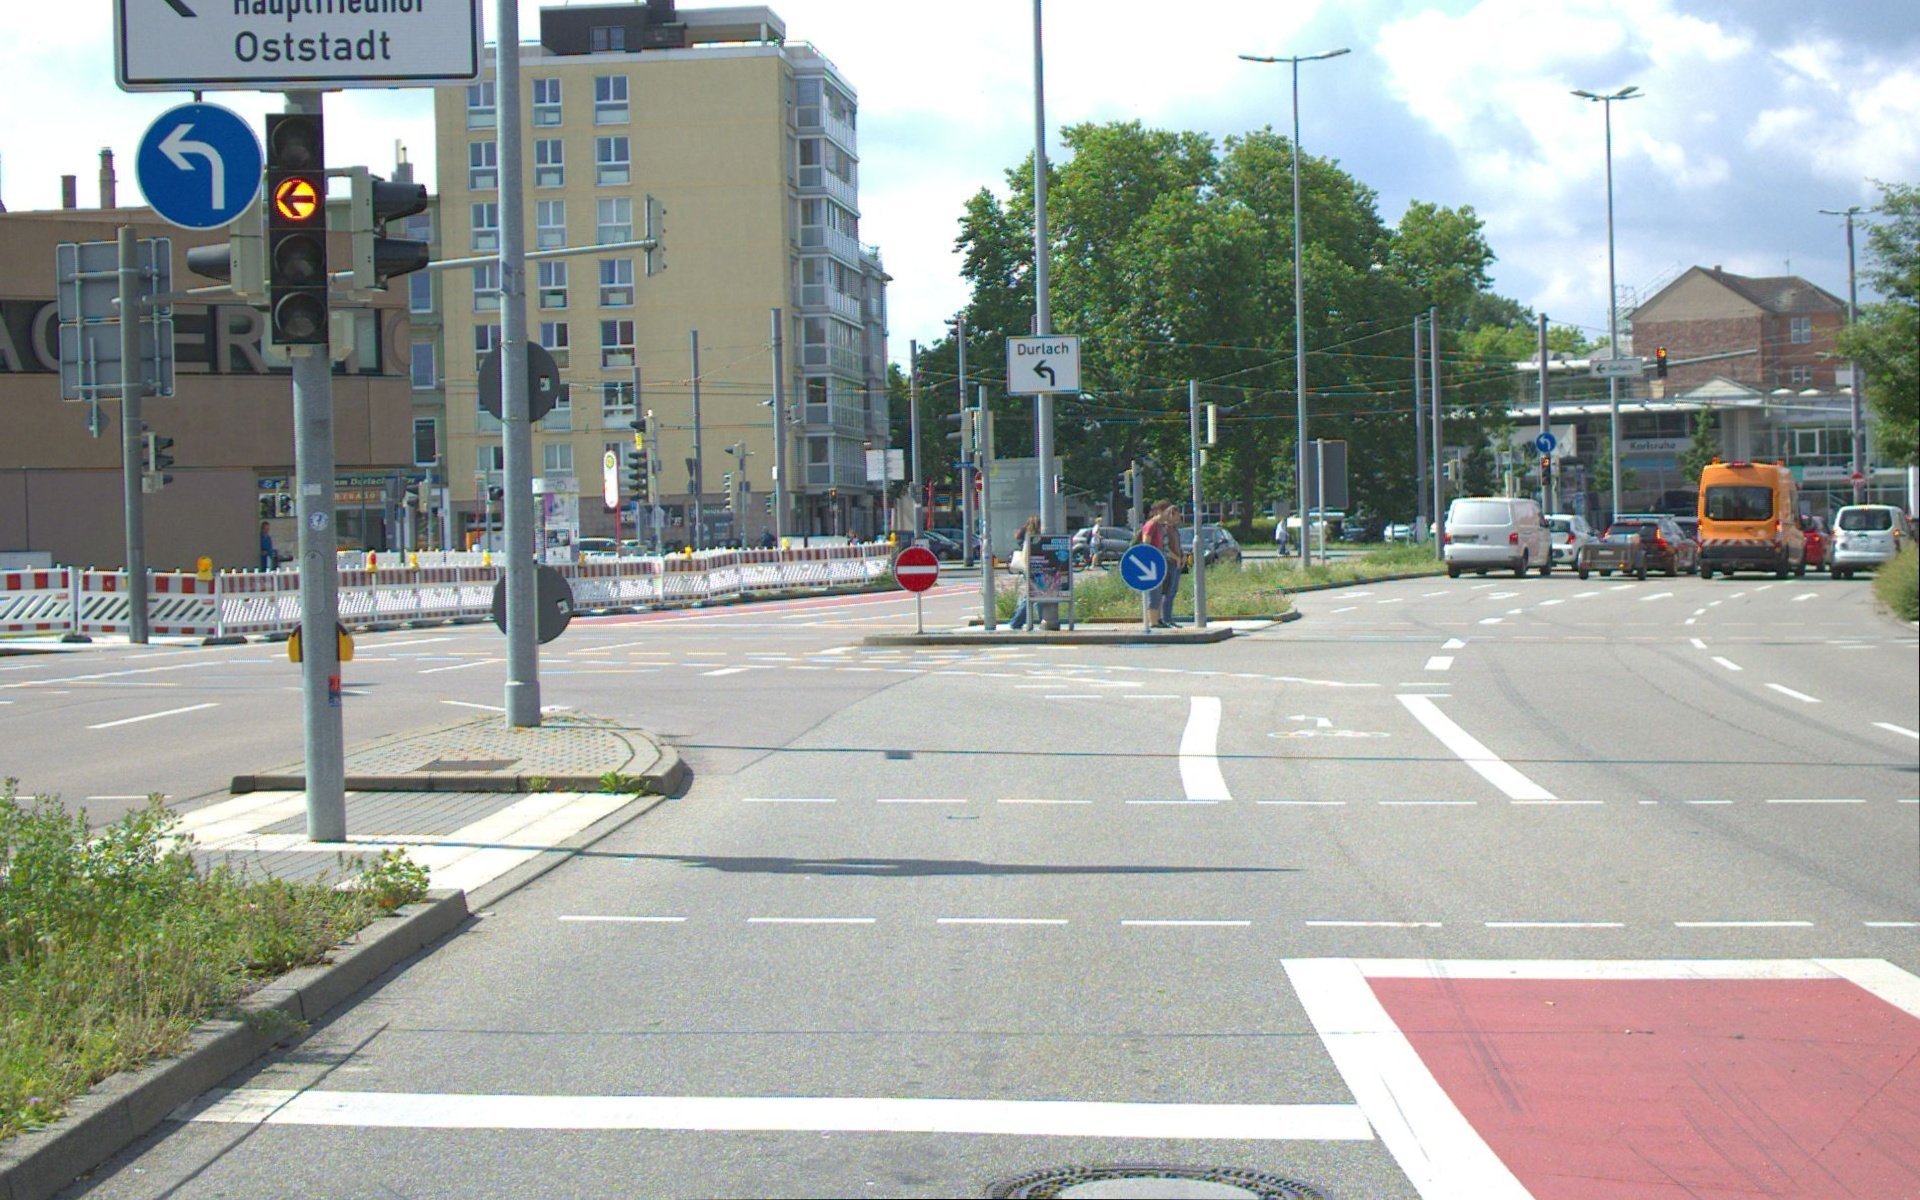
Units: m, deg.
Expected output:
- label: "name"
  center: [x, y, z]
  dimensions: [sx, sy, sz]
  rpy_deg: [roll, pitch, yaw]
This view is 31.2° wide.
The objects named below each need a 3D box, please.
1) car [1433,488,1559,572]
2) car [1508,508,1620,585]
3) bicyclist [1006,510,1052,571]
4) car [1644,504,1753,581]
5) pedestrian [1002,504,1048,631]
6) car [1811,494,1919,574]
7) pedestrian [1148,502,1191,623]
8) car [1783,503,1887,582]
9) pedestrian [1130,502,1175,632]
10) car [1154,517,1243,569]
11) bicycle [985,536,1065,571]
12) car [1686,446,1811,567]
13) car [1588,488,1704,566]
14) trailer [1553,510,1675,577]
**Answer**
- label: "car"
  center: [13.226, -1.745, 84.621]
  dimensions: [2.008, 1.960, 4.634]
  rpy_deg: [-1, 1, 22]
- label: "car"
  center: [16.289, -1.461, 92.611]
  dimensions: [1.994, 1.932, 4.634]
  rpy_deg: [-1, 1, 22]
- label: "bicyclist"
  center: [2.219, -1.910, 109.941]
  dimensions: [1.220, 1.903, 0.857]
  rpy_deg: [-1, 1, 19]
- label: "car"
  center: [19.674, -1.548, 91.461]
  dimensions: [1.994, 1.932, 4.634]
  rpy_deg: [-1, 1, 22]
- label: "pedestrian"
  center: [0.895, -0.455, 47.353]
  dimensions: [0.525, 1.727, 0.623]
  rpy_deg: [-1, 1, 8]
- label: "car"
  center: [21.518, -1.570, 81.285]
  dimensions: [1.996, 1.788, 3.995]
  rpy_deg: [-1, 1, 24]
- label: "pedestrian"
  center: [2.940, -0.532, 48.264]
  dimensions: [0.525, 1.678, 0.623]
  rpy_deg: [-1, 1, 8]
- label: "car"
  center: [23.062, -1.533, 90.482]
  dimensions: [1.994, 1.932, 4.634]
  rpy_deg: [-1, 1, 22]
- label: "pedestrian"
  center: [2.584, -0.447, 46.114]
  dimensions: [0.525, 1.727, 0.623]
  rpy_deg: [-1, 1, 8]
- label: "car"
  center: [6.701, -1.606, 96.108]
  dimensions: [1.793, 1.383, 4.225]
  rpy_deg: [-1, 1, 13]
- label: "bicycle"
  center: [2.073, -1.493, 110.000]
  dimensions: [2.381, 1.063, 0.857]
  rpy_deg: [-1, 1, 19]
- label: "car"
  center: [18.955, -2.249, 82.500]
  dimensions: [2.132, 2.771, 4.634]
  rpy_deg: [-1, 1, 22]
- label: "car"
  center: [17.041, -1.833, 85.286]
  dimensions: [1.996, 1.820, 3.995]
  rpy_deg: [-1, 1, 23]
- label: "trailer"
  center: [15.647, -1.359, 82.076]
  dimensions: [1.996, 1.472, 3.995]
  rpy_deg: [-1, 1, 23]
